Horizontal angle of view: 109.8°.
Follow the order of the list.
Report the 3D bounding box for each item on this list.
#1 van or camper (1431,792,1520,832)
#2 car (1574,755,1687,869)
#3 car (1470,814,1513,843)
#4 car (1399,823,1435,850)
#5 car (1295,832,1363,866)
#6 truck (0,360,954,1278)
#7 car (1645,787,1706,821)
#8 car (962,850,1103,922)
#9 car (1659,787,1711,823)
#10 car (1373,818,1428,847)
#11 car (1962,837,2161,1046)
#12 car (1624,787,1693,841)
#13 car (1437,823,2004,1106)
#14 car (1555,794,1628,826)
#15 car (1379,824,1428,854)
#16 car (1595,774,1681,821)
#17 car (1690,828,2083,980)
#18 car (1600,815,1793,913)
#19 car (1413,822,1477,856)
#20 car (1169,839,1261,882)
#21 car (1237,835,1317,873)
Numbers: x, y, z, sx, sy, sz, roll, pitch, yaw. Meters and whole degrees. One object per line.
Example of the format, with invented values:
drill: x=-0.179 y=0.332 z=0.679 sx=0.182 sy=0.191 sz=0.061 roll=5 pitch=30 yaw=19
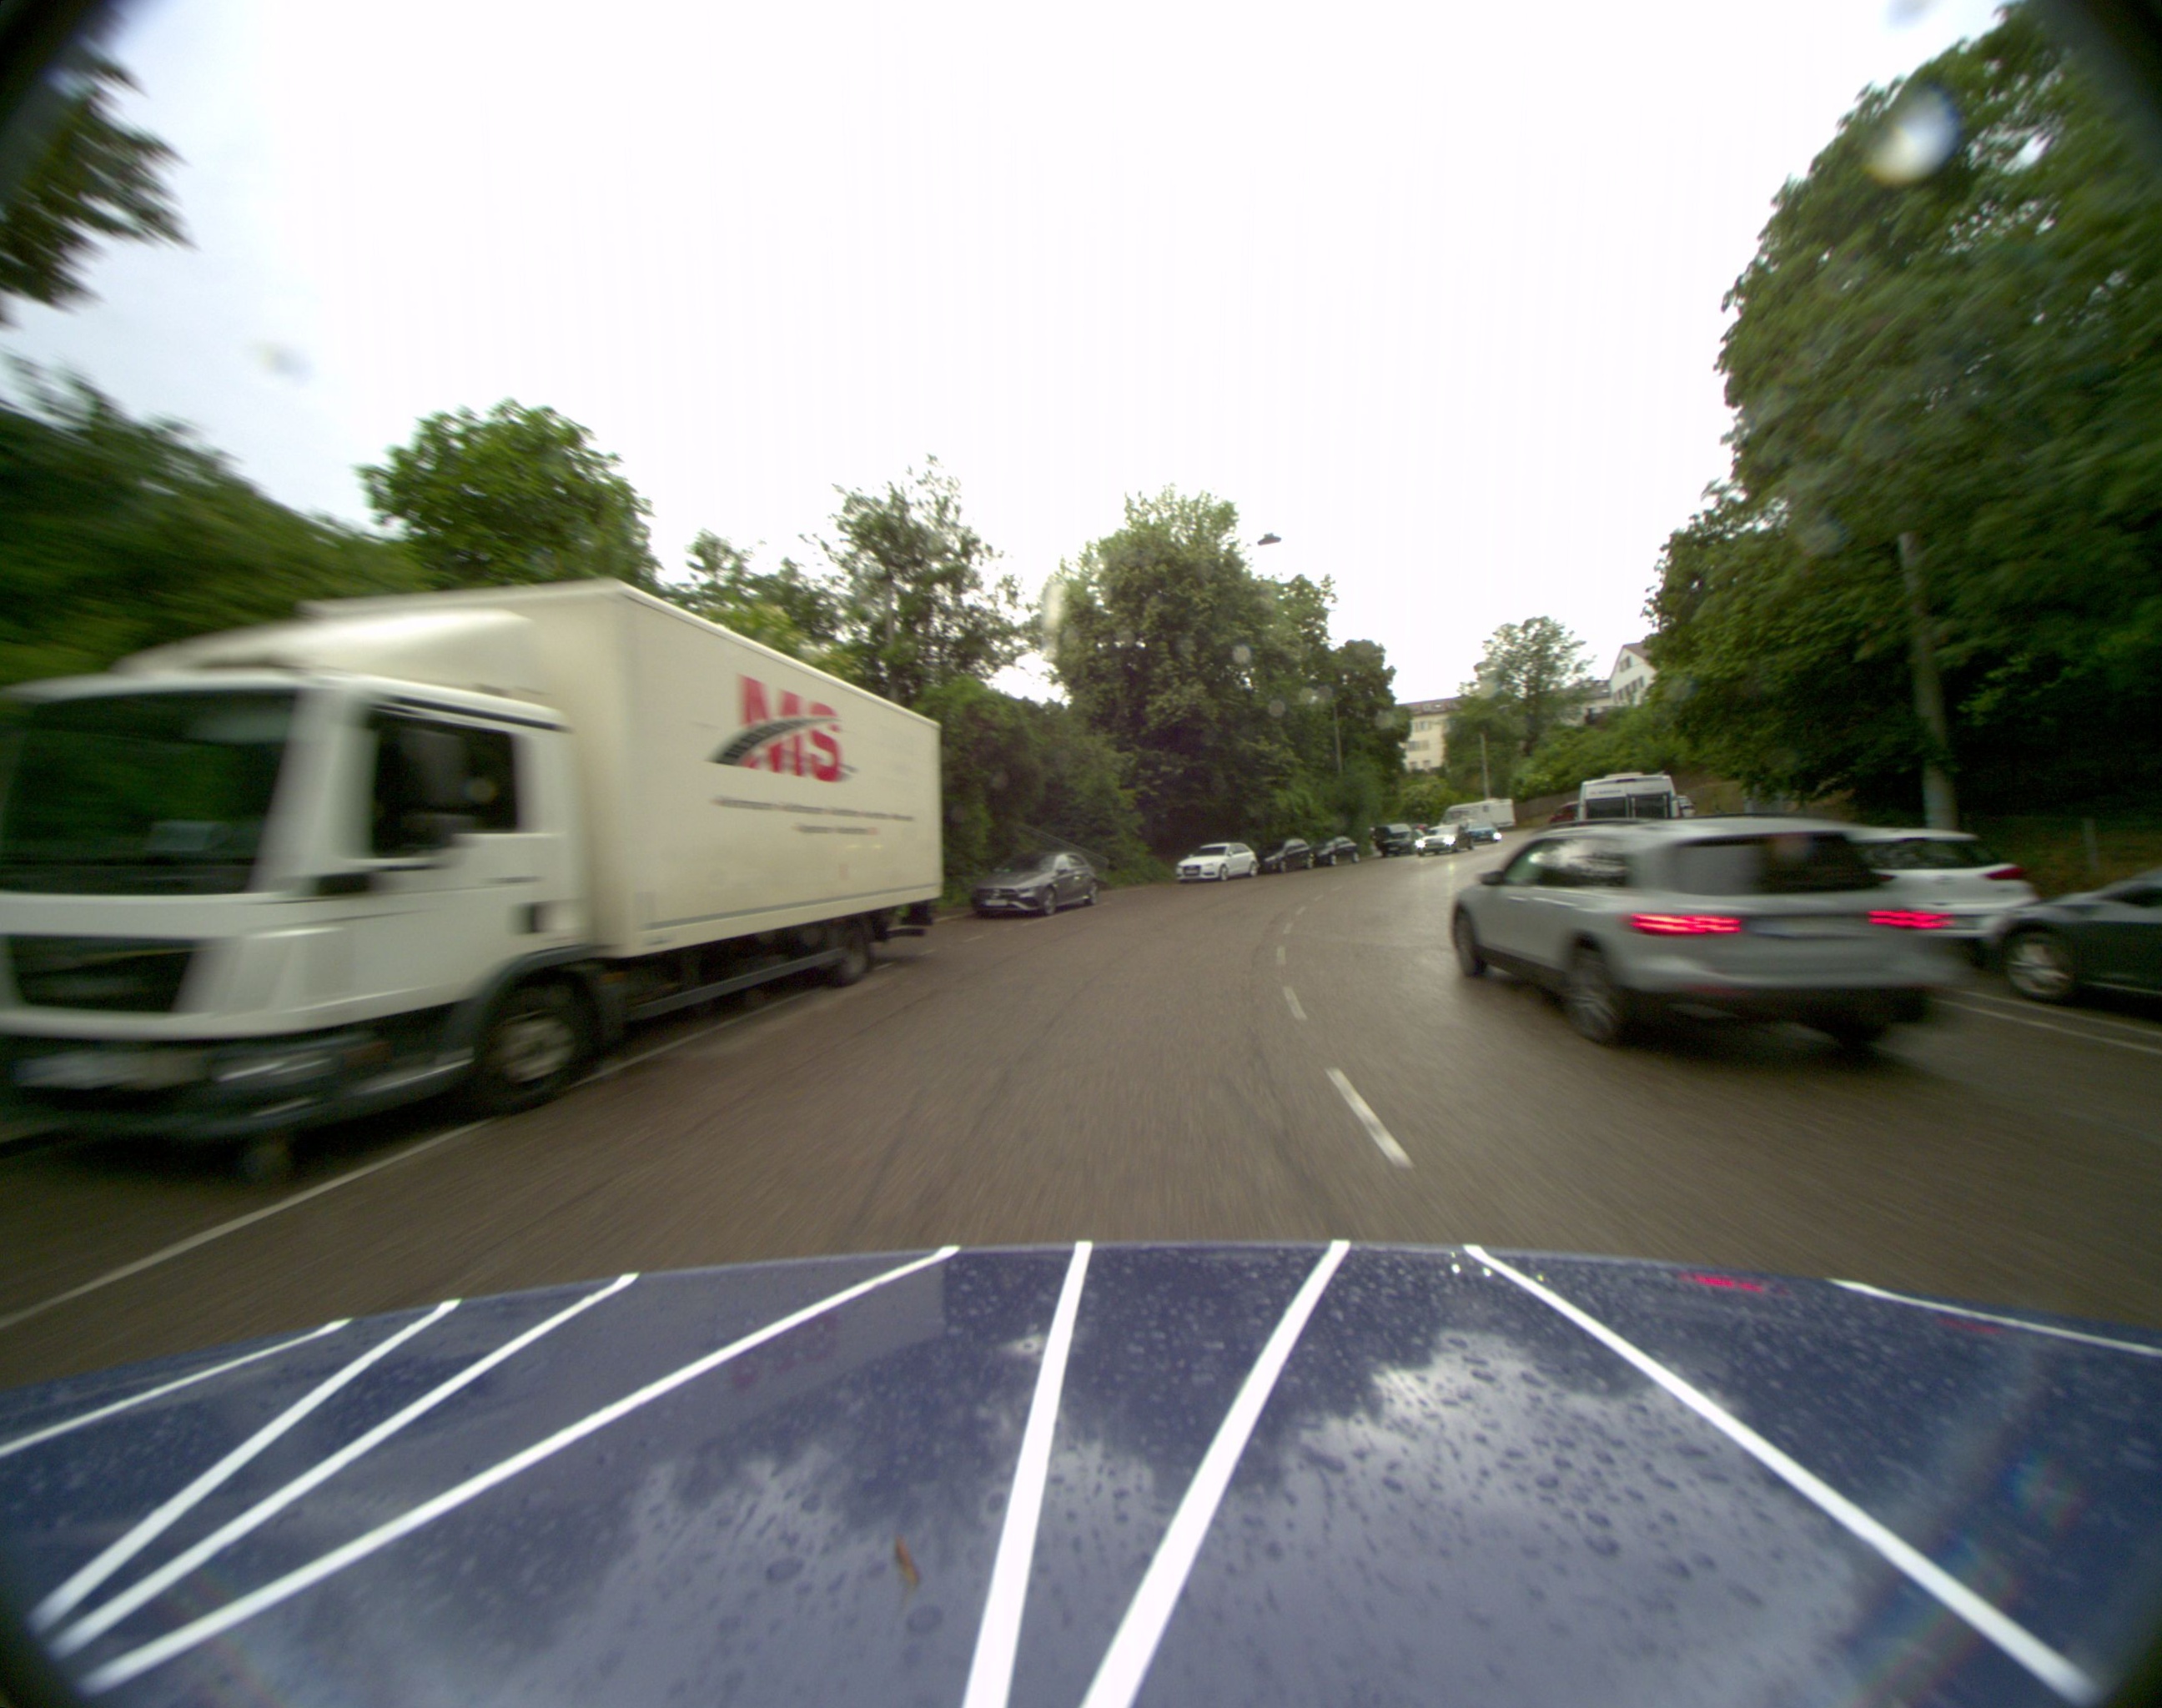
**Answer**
van or camper: x=35.745 y=-3.710 z=69.205 sx=2.460 sy=2.950 sz=7.516 roll=-6 pitch=1 yaw=-16
car: x=14.705 y=-1.179 z=20.602 sx=2.075 sy=2.536 sz=6.356 roll=-3 pitch=3 yaw=34
car: x=25.882 y=-1.550 z=48.036 sx=1.995 sy=1.660 sz=4.537 roll=-2 pitch=0 yaw=24
car: x=22.816 y=-1.243 z=51.787 sx=1.904 sy=1.479 sz=4.880 roll=-8 pitch=0 yaw=22
car: x=12.461 y=-0.286 z=38.061 sx=1.591 sy=1.381 sz=3.828 roll=-7 pitch=-2 yaw=44
truck: x=-4.087 y=-0.123 z=7.290 sx=3.012 sy=3.553 sz=8.341 roll=-2 pitch=1 yaw=9
car: x=33.438 y=-2.787 z=42.858 sx=1.777 sy=1.576 sz=4.439 roll=-6 pitch=0 yaw=28
car: x=-1.023 y=0.699 z=18.342 sx=1.722 sy=1.436 sz=4.130 roll=-2 pitch=1 yaw=22
car: x=30.403 y=-2.463 z=38.327 sx=1.740 sy=1.470 sz=4.205 roll=-8 pitch=-2 yaw=36
car: x=24.316 y=-1.587 z=58.002 sx=1.998 sy=1.876 sz=5.036 roll=-7 pitch=1 yaw=2
car: x=8.538 y=0.650 z=4.813 sx=1.776 sy=1.435 sz=4.018 roll=-2 pitch=1 yaw=11
car: x=22.818 y=-1.616 z=29.975 sx=1.751 sy=1.758 sz=4.143 roll=-4 pitch=2 yaw=42
car: x=4.799 y=0.615 z=6.701 sx=1.821 sy=1.660 sz=4.311 roll=-1 pitch=1 yaw=8
car: x=37.540 y=-3.208 z=56.096 sx=1.998 sy=1.865 sz=4.821 roll=-6 pitch=0 yaw=0
car: x=19.611 y=-0.948 z=46.134 sx=1.628 sy=1.479 sz=3.751 roll=-8 pitch=-2 yaw=38
car: x=35.808 y=-3.538 z=49.122 sx=2.038 sy=2.516 sz=6.830 roll=-7 pitch=0 yaw=16
car: x=9.613 y=0.450 z=9.612 sx=1.754 sy=1.448 sz=4.051 roll=-1 pitch=2 yaw=20
car: x=11.664 y=0.090 z=14.744 sx=1.805 sy=1.574 sz=4.029 roll=-2 pitch=3 yaw=22
car: x=18.851 y=-0.806 z=39.259 sx=1.895 sy=1.530 sz=4.508 roll=-5 pitch=-1 yaw=39
car: x=5.256 y=0.224 z=29.491 sx=1.756 sy=1.392 sz=4.103 roll=-4 pitch=0 yaw=37
car: x=8.687 y=-0.034 z=33.434 sx=1.661 sy=1.415 sz=3.976 roll=-5 pitch=-1 yaw=42
